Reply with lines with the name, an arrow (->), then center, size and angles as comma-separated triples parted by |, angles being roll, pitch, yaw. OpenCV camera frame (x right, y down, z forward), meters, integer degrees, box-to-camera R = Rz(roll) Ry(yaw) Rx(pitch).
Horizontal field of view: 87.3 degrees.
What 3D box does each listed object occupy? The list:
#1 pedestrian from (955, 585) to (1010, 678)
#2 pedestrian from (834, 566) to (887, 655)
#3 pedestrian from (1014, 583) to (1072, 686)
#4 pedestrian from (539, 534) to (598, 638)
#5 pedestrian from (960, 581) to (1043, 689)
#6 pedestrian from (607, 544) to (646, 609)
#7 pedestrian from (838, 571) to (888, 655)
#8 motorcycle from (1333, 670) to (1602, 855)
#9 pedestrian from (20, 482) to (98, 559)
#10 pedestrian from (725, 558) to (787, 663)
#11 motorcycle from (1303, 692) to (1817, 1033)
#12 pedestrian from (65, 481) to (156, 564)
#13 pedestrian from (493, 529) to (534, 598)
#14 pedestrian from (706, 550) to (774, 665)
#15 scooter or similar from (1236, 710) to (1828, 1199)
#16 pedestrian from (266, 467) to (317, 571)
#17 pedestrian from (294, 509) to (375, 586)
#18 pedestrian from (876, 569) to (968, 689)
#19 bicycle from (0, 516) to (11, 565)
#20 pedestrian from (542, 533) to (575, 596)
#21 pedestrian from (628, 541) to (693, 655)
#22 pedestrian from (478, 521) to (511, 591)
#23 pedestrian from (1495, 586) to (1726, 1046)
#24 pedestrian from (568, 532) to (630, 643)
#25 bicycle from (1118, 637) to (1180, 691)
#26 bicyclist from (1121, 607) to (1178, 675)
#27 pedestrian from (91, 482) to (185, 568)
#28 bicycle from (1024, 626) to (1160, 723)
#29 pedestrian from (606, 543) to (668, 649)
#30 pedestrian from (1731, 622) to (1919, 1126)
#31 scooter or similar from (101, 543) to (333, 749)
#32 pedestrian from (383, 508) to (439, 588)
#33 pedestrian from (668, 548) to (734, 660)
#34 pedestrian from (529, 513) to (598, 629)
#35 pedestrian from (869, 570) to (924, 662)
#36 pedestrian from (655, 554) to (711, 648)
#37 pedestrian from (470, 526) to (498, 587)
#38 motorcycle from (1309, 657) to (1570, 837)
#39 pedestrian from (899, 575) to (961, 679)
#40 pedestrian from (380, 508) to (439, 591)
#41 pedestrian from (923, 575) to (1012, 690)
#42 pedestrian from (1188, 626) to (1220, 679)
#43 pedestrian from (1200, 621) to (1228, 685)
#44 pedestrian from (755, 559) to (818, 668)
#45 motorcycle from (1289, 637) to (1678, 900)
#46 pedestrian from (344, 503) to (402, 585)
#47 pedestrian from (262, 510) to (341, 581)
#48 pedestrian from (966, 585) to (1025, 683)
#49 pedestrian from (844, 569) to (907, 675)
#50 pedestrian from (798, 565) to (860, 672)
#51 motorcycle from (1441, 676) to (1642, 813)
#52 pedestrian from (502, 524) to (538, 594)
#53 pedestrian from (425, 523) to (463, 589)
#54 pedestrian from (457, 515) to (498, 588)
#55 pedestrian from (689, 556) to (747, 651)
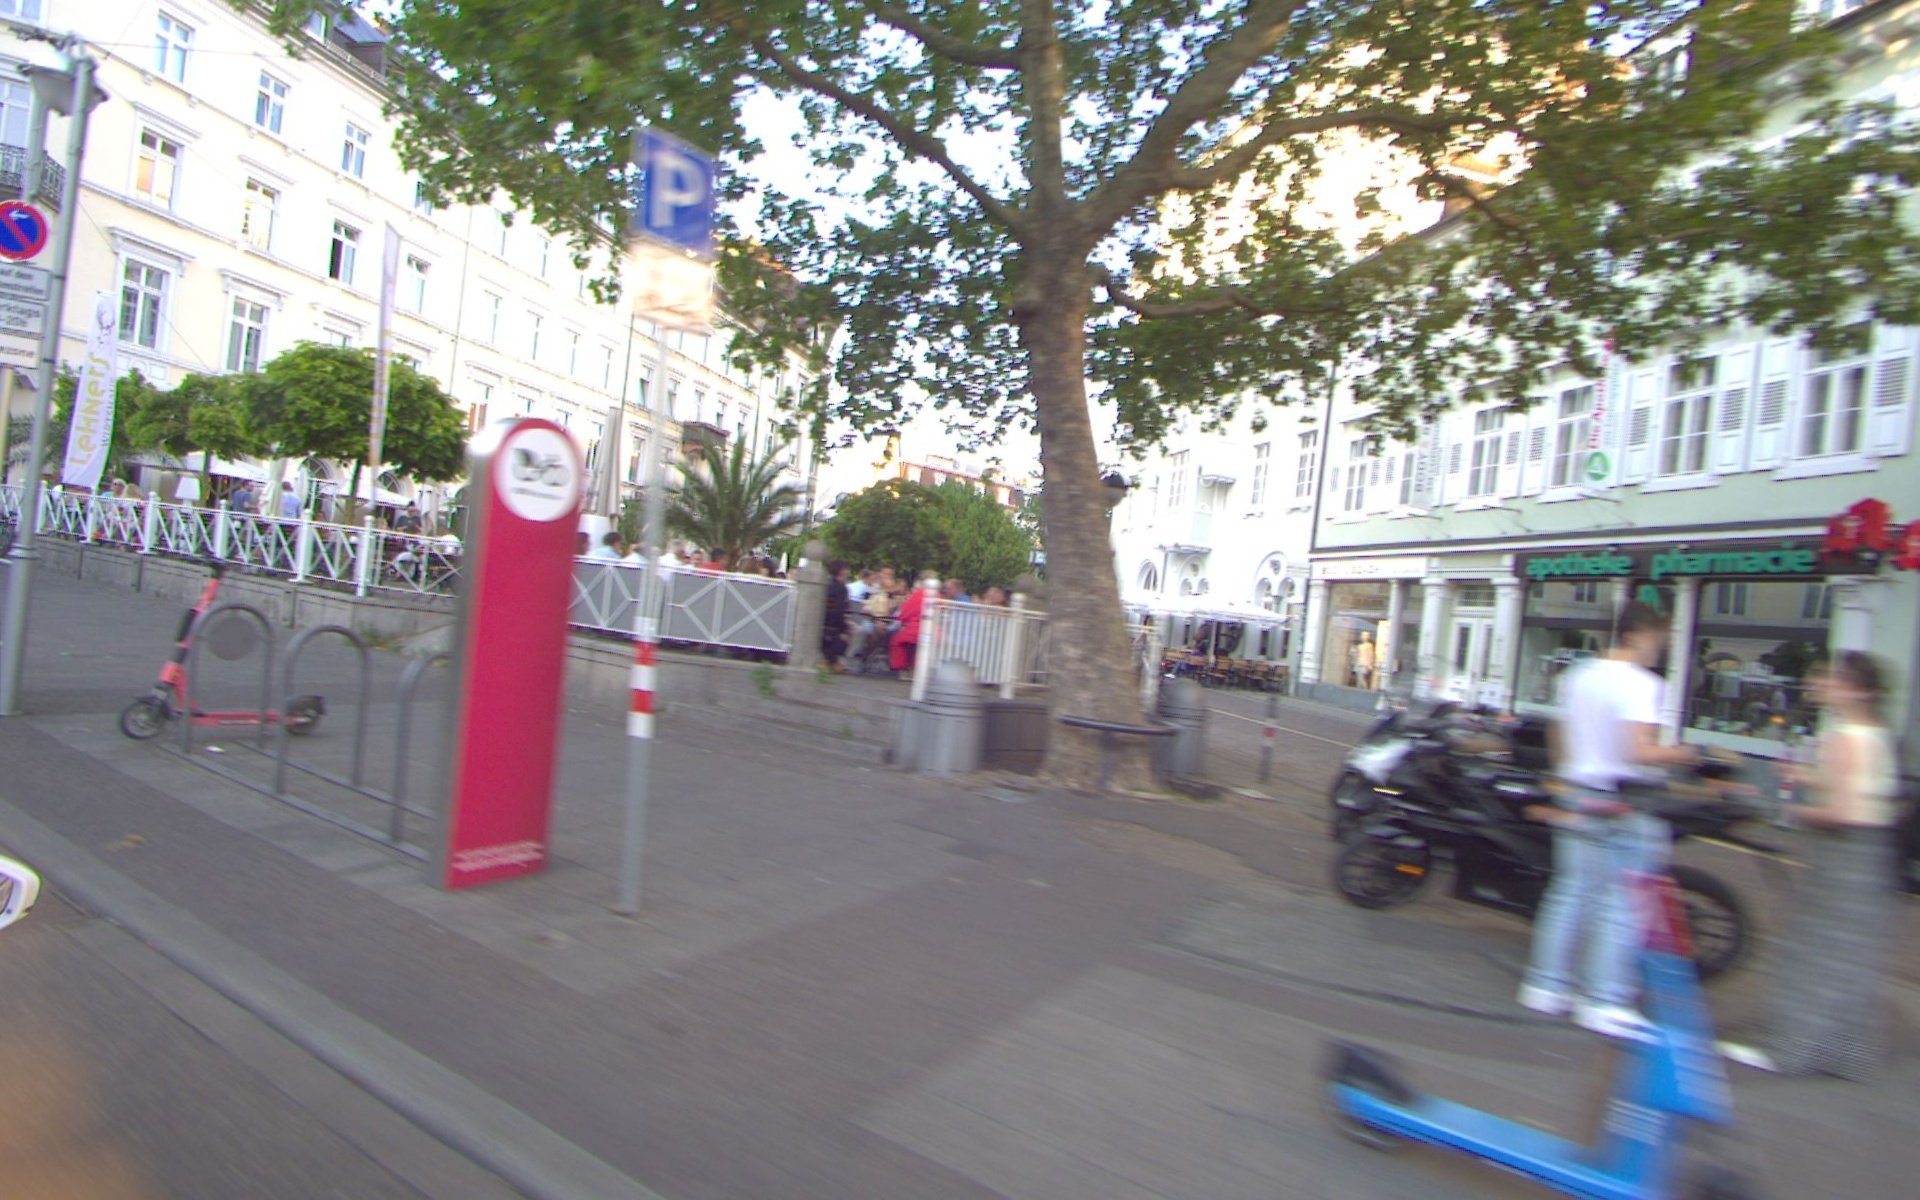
pedestrian -> 0.331, 0.464, 14.893 | 0.472, 1.301, 0.534 | 5, 0, -42
pedestrian -> -1.521, 0.162, 15.395 | 0.469, 1.301, 0.537 | 5, 0, 42
pedestrian -> 1.189, 0.491, 14.474 | 0.472, 1.417, 0.534 | 5, 0, -42
pedestrian -> -5.223, -0.187, 13.423 | 0.472, 1.321, 0.533 | 5, 0, -44
pedestrian -> 0.538, 0.451, 12.985 | 0.642, 1.301, 0.732 | 5, 0, -42
pedestrian -> -7.875, -0.546, 23.739 | 0.568, 1.456, 0.511 | 5, 0, 31
pedestrian -> -1.583, 0.214, 16.394 | 0.469, 1.301, 0.537 | 5, 0, 42
motorcycle -> 4.125, 1.306, 8.272 | 1.763, 1.164, 0.553 | 9, 0, 5
pedestrian -> -17.155, -1.508, 19.163 | 0.855, 1.322, 0.824 | 5, 0, 31
pedestrian -> -2.647, 0.135, 13.059 | 0.472, 1.301, 0.533 | 5, 0, -44
motorcycle -> 2.853, 1.185, 5.010 | 1.997, 1.172, 0.455 | 7, 0, 32
pedestrian -> -15.080, -1.364, 17.858 | 0.951, 1.322, 0.903 | 5, -1, 31
pedestrian -> -9.940, -0.815, 22.405 | 0.502, 1.456, 0.578 | 5, 0, 8
pedestrian -> -2.603, 0.092, 11.918 | 0.472, 1.301, 0.533 | 5, 0, -44
scooter or similar -> 1.487, 1.016, 2.781 | 1.253, 1.237, 0.314 | 7, 1, 39
pedestrian -> -15.755, -1.896, 23.715 | 0.569, 2.333, 0.615 | 5, 0, 10
pedestrian -> -12.194, -1.017, 19.629 | 0.890, 1.352, 0.964 | 5, -1, 31
pedestrian -> -0.443, 0.329, 11.649 | 0.642, 1.301, 0.732 | 5, 0, -42
bicycle -> -18.507, -1.165, 19.160 | 1.351, 0.913, 0.250 | 5, 0, 32
pedestrian -> -10.436, -0.905, 26.156 | 0.568, 1.567, 0.511 | 5, 0, -8
pedestrian -> -3.703, -0.029, 12.439 | 0.472, 1.346, 0.533 | 5, 0, -44
pedestrian -> -10.909, -1.034, 23.572 | 0.507, 1.567, 0.573 | 5, 0, -33
pedestrian -> 2.768, 0.852, 4.312 | 0.651, 1.738, 0.614 | 5, 0, 34
pedestrian -> -4.702, -0.168, 13.102 | 0.472, 1.380, 0.533 | 5, 0, -44
bicycle -> 4.948, 1.658, 26.476 | 0.641, 1.226, 2.192 | 7, -2, -13
bicyclist -> 4.994, 1.071, 26.569 | 0.977, 1.671, 0.997 | 7, -2, -14
pedestrian -> -14.117, -1.283, 17.277 | 0.951, 1.330, 0.903 | 5, -1, 31
bicycle -> 2.217, 1.254, 16.998 | 2.080, 1.307, 0.442 | 8, 1, -4
pedestrian -> -4.125, -0.051, 12.844 | 0.472, 1.301, 0.533 | 5, 0, -44
pedestrian -> 3.501, 0.993, 3.899 | 0.644, 1.738, 0.678 | 5, 0, 34
scooter or similar -> -4.848, 0.307, 6.620 | 0.295, 1.231, 1.125 | 7, 2, 33
pedestrian -> -12.196, -1.146, 22.363 | 0.649, 1.663, 0.758 | 5, 0, 34
pedestrian -> -3.142, 0.047, 12.212 | 0.472, 1.301, 0.533 | 5, 0, -44
pedestrian -> -5.740, -0.413, 14.550 | 0.617, 1.590, 0.623 | 5, 0, -44
pedestrian -> -0.947, 0.239, 14.949 | 0.469, 1.301, 0.537 | 5, 0, 42
pedestrian -> -3.919, 0.011, 14.214 | 0.472, 1.257, 0.533 | 5, 0, -44
pedestrian -> -12.744, -1.154, 26.931 | 0.506, 1.567, 0.574 | 5, 0, -29
motorcycle -> 4.262, 1.287, 9.045 | 1.920, 1.297, 0.563 | 7, 0, 5
pedestrian -> -0.394, 0.354, 13.258 | 0.472, 1.301, 0.534 | 5, 0, -42
pedestrian -> -11.682, -1.069, 21.353 | 0.648, 1.663, 0.758 | 5, 0, 32
pedestrian -> 0.085, 0.386, 12.054 | 0.642, 1.301, 0.732 | 5, 0, -42
pedestrian -> 7.852, 1.688, 32.372 | 0.750, 1.615, 0.617 | 5, 0, 1
pedestrian -> 7.479, 1.567, 29.576 | 0.564, 1.808, 0.624 | 5, 0, 23
pedestrian -> -2.178, 0.170, 12.632 | 0.472, 1.301, 0.534 | 5, 0, -42
motorcycle -> 3.662, 1.151, 7.180 | 2.253, 1.440, 0.566 | 9, 0, 5
pedestrian -> -12.617, -1.198, 21.621 | 0.649, 1.663, 0.758 | 5, 0, 33
pedestrian -> -13.248, -1.085, 20.251 | 0.890, 1.282, 0.964 | 5, -1, 31
pedestrian -> 0.496, 0.469, 13.989 | 0.472, 1.301, 0.534 | 5, 0, -42
pedestrian -> -1.090, 0.283, 12.945 | 0.472, 1.301, 0.534 | 5, 0, -42
pedestrian -> -1.665, 0.229, 12.782 | 0.475, 1.301, 0.519 | 5, 0, -41
motorcycle -> 6.709, 1.662, 11.638 | 1.923, 1.297, 0.562 | 7, 0, -6
pedestrian -> -11.415, -1.059, 26.091 | 0.567, 1.733, 0.512 | 5, 0, 0
pedestrian -> -12.885, -1.100, 25.130 | 0.569, 1.567, 0.510 | 5, 0, 34
pedestrian -> -10.758, -1.076, 22.428 | 0.505, 1.567, 0.575 | 5, 0, 42
pedestrian -> -3.354, 0.050, 13.953 | 0.472, 1.257, 0.533 | 5, 0, -44
